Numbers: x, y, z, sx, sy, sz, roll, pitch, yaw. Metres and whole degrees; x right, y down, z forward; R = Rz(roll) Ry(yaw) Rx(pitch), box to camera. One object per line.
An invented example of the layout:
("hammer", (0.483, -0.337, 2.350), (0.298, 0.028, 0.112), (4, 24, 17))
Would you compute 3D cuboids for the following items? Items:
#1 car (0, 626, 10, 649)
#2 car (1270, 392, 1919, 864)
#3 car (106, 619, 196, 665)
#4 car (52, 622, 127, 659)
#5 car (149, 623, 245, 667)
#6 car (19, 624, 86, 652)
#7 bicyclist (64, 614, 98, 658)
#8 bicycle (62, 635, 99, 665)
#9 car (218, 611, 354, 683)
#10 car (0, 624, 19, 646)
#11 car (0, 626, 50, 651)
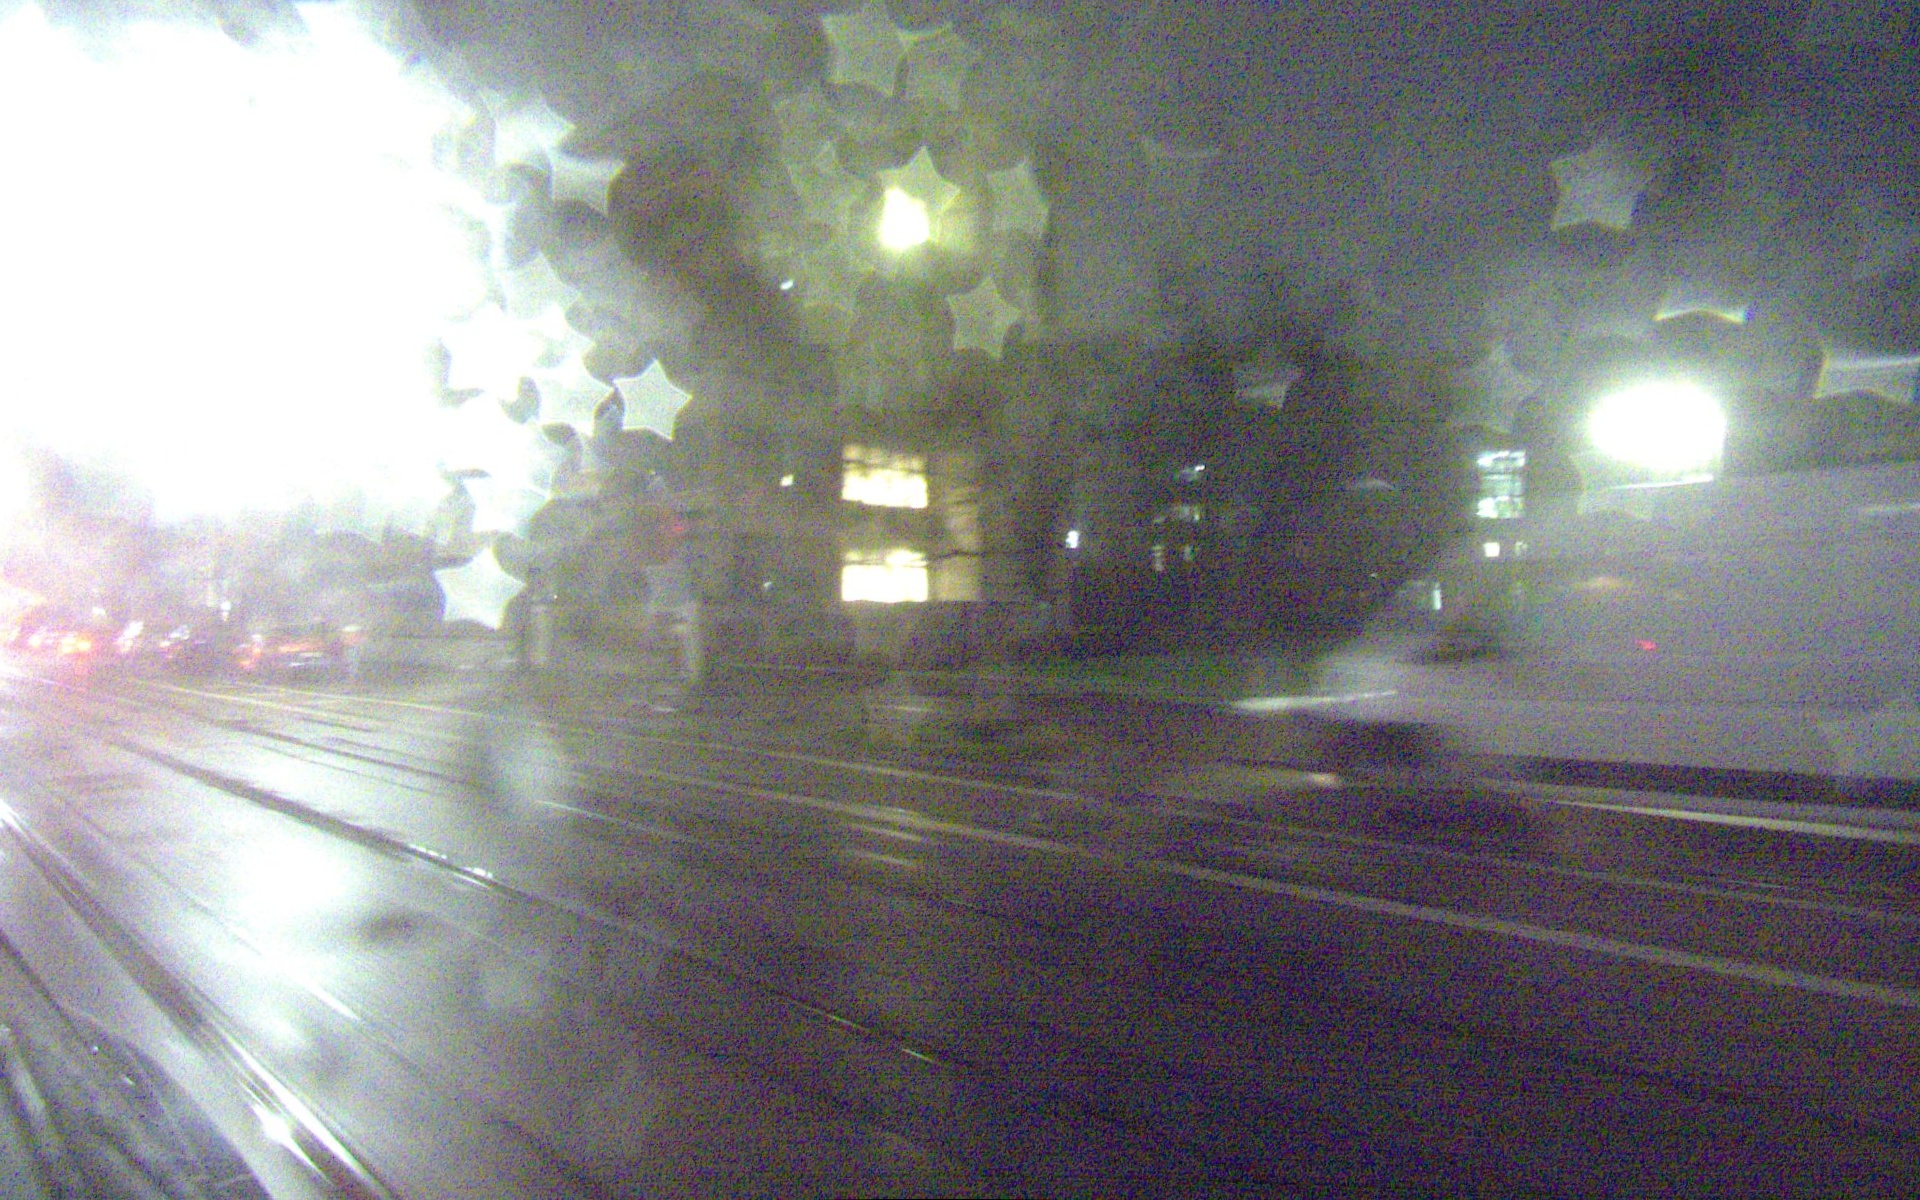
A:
("car", (-74.411, 2.879, 77.336), (4.587, 1.631, 2.122), (0, 2, 41))
("car", (5.595, 0.166, 6.816), (6.392, 2.611, 2.161), (-2, -1, 43))
("car", (-31.555, 1.579, 39.439), (4.515, 1.643, 1.963), (-1, 0, 41))
("car", (-41.633, 1.906, 48.371), (4.394, 1.556, 1.862), (-1, 3, 38))
("car", (-26.082, 1.505, 34.554), (3.909, 1.432, 1.674), (-2, -2, 38))
("car", (-50.938, 2.127, 56.806), (4.951, 1.474, 1.870), (-1, -1, 37))
("bicyclist", (-33.713, 1.389, 38.829), (1.205, 1.668, 0.774), (-1, -3, 41))
("bicycle", (-33.725, 1.913, 38.810), (1.917, 1.090, 0.774), (-1, -3, 41))
("car", (-17.998, 1.175, 26.948), (4.600, 1.668, 1.948), (-1, 1, 43))
("car", (-66.127, 2.352, 69.292), (4.601, 1.451, 1.756), (-1, -1, 38))
("car", (-58.893, 2.398, 63.603), (4.203, 1.434, 1.822), (-1, -1, 38))
